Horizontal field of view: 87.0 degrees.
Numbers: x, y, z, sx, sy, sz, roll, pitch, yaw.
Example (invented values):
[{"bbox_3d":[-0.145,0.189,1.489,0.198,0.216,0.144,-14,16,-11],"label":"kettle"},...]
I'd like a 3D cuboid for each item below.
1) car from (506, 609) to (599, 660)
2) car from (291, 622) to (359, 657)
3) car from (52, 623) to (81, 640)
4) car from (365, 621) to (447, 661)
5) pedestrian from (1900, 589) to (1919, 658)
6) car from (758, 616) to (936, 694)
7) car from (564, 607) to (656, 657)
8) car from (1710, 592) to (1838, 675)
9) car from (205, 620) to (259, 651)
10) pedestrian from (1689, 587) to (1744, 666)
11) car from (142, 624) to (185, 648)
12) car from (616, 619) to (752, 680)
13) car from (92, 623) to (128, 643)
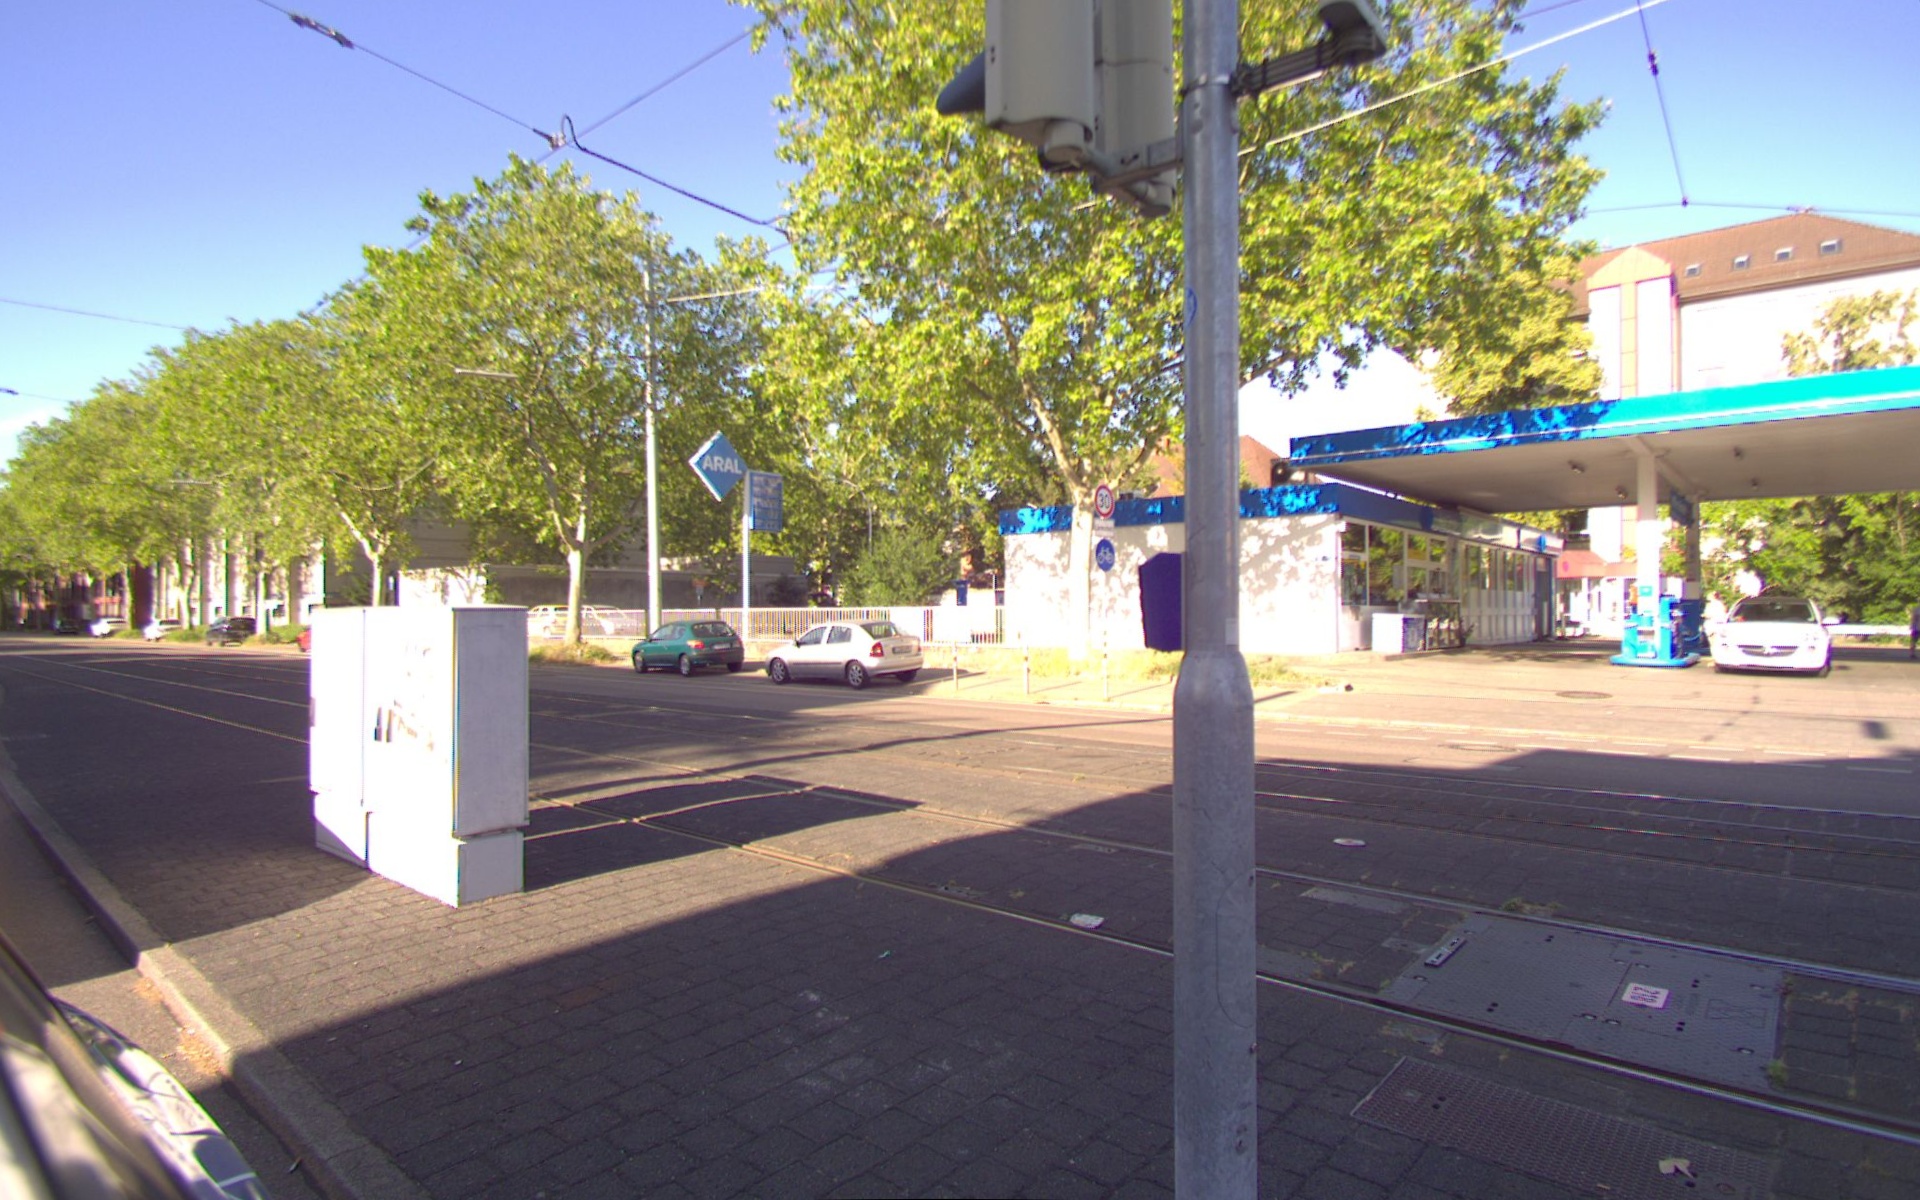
[{"bbox_3d":[-17.043,1.397,42.271,3.996,2.029,1.974,-1,-1,39],"label":"car"},{"bbox_3d":[-28.910,1.776,46.054,3.858,1.440,1.695,-1,0,43],"label":"car"},{"bbox_3d":[-84.869,3.014,96.128,3.858,1.495,1.735,-1,0,43],"label":"car"},{"bbox_3d":[-21.983,1.590,40.100,3.858,1.468,1.735,-1,0,43],"label":"car"},{"bbox_3d":[25.848,0.626,26.895,0.887,1.815,0.907,-1,-1,15],"label":"pedestrian"},{"bbox_3d":[-2.573,1.170,22.604,3.857,1.497,1.823,-1,1,42],"label":"car"},{"bbox_3d":[-15.144,1.367,43.699,3.996,2.029,1.974,-1,-1,39],"label":"car"},{"bbox_3d":[15.941,0.617,19.789,1.793,1.453,3.946,-1,-1,40],"label":"car"},{"bbox_3d":[-40.673,1.957,56.495,3.858,1.557,1.735,-1,0,43],"label":"car"},{"bbox_3d":[16.158,0.558,21.623,0.637,1.642,0.814,1,-2,-42],"label":"pedestrian"},{"bbox_3d":[-53.636,2.401,68.132,3.858,1.495,1.735,-1,0,43],"label":"car"},{"bbox_3d":[-7.433,1.277,27.084,3.858,1.408,1.722,-1,1,43],"label":"car"},{"bbox_3d":[-66.923,2.581,79.653,3.858,1.495,1.735,-1,0,43],"label":"car"}]
